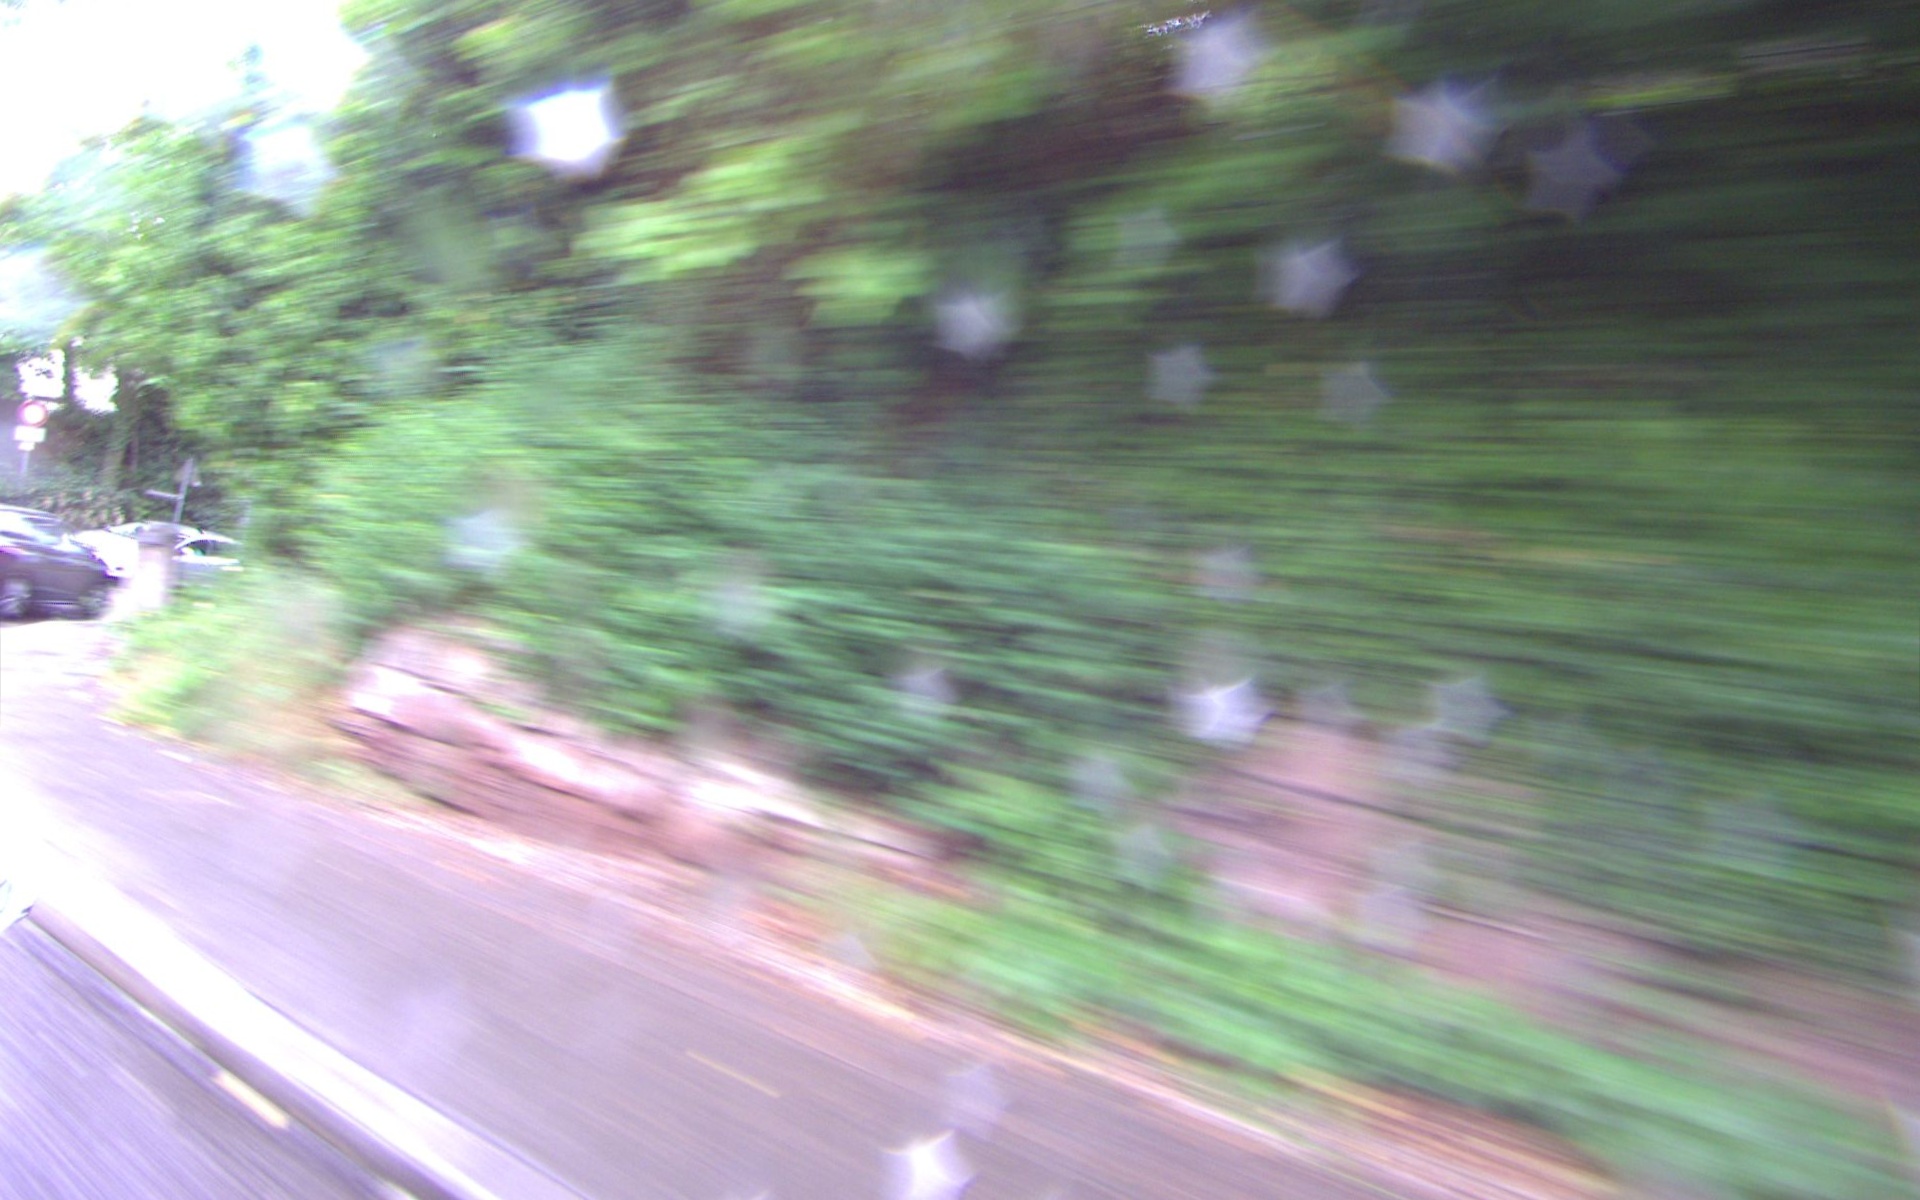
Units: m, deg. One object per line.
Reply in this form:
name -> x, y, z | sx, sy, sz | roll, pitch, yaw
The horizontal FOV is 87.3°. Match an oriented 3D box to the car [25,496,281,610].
car -> -17.673, -0.946, 22.327 | 1.646, 1.551, 4.134 | 12, -5, 11

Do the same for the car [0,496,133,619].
car -> -13.407, -0.661, 13.845 | 1.683, 1.466, 3.983 | 11, -2, -20
